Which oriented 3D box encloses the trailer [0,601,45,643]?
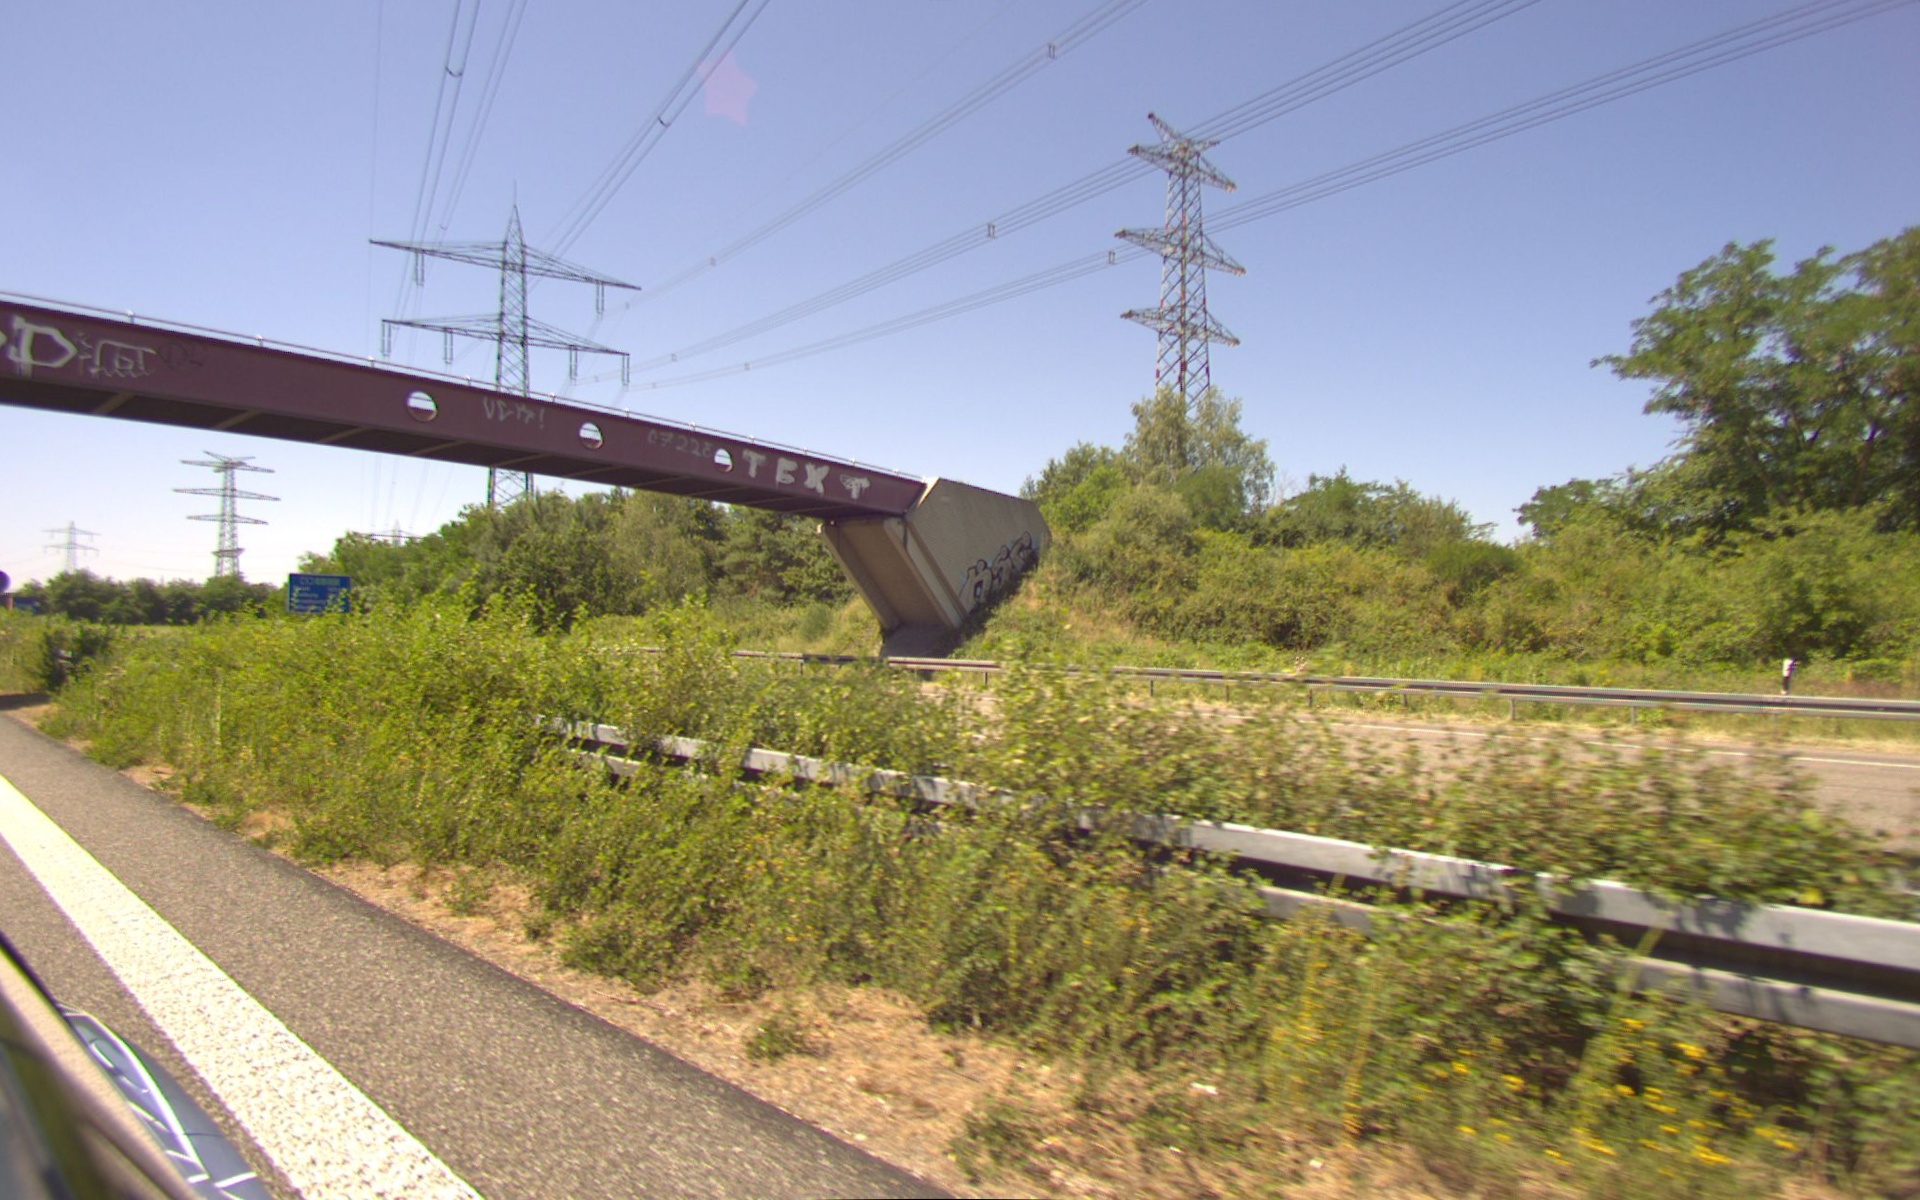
[{"bbox_3d":[-110.839,2.605,118.677,14.159,4.441,3.309,-2,-8,42],"label":"trailer"}]
